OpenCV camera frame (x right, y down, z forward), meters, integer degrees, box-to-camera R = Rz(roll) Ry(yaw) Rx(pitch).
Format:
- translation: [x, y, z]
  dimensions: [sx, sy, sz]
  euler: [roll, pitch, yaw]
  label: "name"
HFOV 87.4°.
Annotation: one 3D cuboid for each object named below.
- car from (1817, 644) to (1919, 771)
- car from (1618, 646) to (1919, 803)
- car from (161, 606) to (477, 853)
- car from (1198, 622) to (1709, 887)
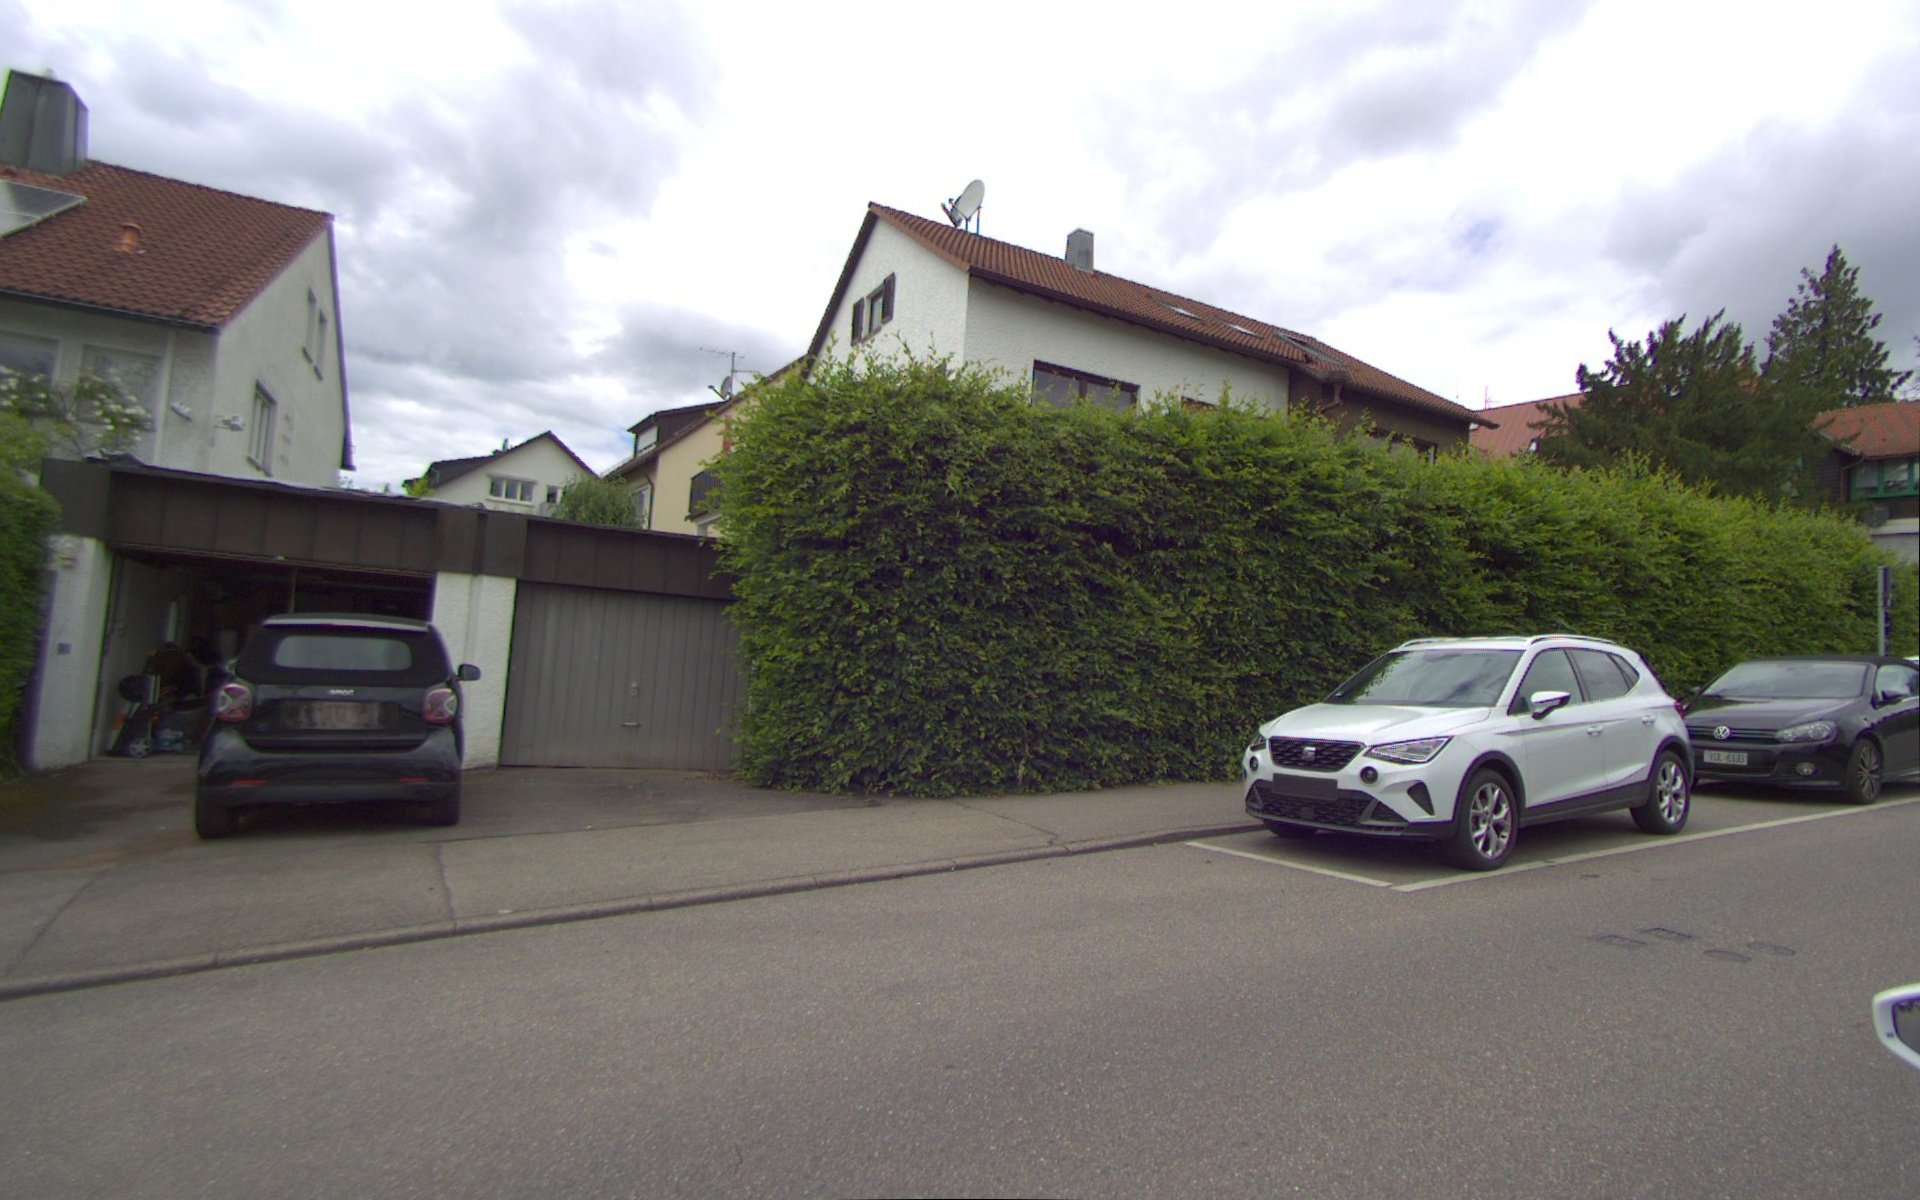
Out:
- translation: [13.142, 1.349, 13.270]
  dimensions: [3.595, 1.543, 1.623]
  euler: [1, -4, -30]
  label: "car"
- translation: [9.065, 1.270, 10.783]
  dimensions: [3.954, 1.405, 1.755]
  euler: [3, -5, -30]
  label: "car"
- translation: [-5.166, 0.853, 8.633]
  dimensions: [1.764, 1.554, 3.974]
  euler: [1, 0, -25]
  label: "car"
- translation: [3.877, 0.996, 7.735]
  dimensions: [3.956, 1.560, 1.713]
  euler: [1, -3, -32]
  label: "car"
